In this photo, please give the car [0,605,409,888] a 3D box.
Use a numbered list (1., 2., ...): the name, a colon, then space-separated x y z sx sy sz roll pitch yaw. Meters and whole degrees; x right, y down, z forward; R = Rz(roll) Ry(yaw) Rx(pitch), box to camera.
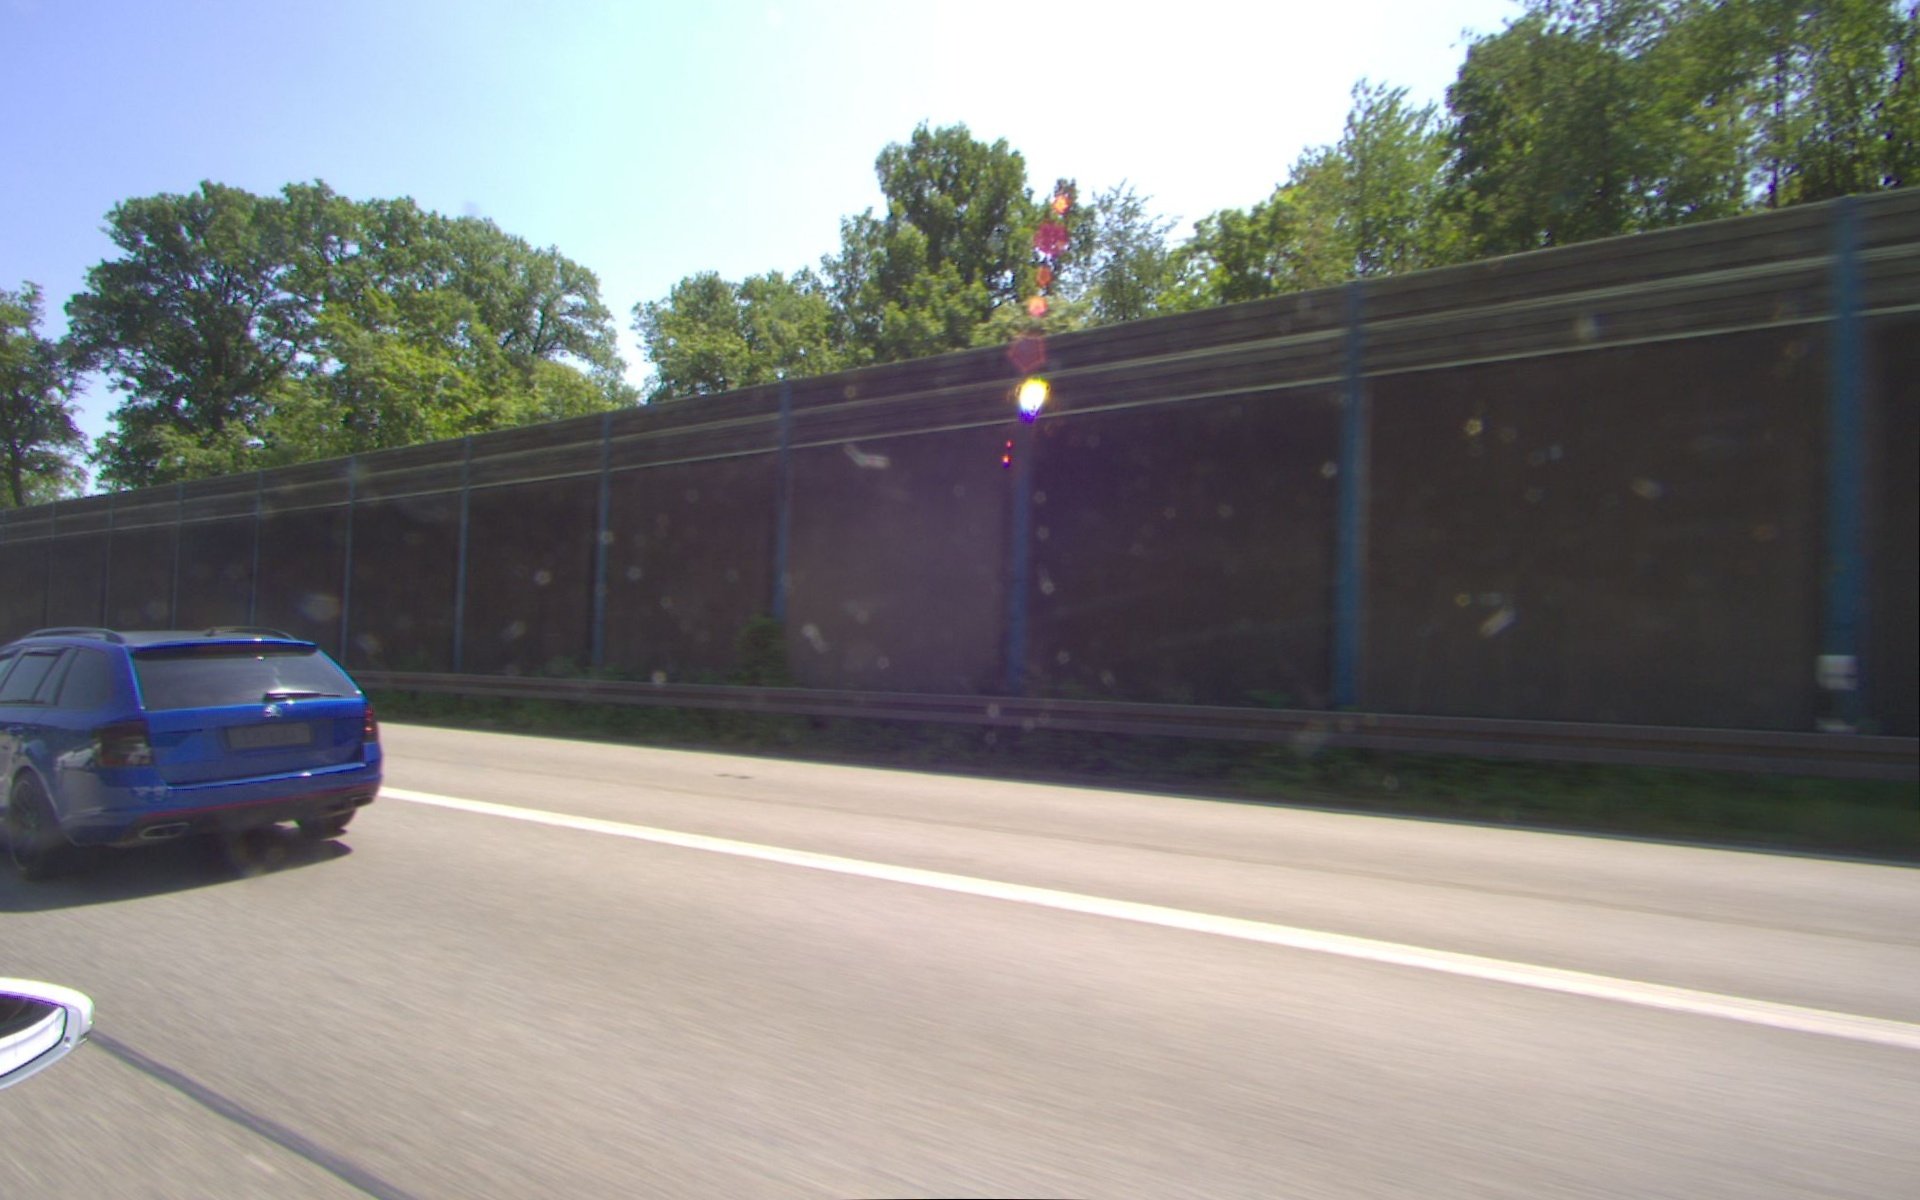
1. car: -6.014 0.872 7.189 4.417 1.501 1.648 -2 -2 31
